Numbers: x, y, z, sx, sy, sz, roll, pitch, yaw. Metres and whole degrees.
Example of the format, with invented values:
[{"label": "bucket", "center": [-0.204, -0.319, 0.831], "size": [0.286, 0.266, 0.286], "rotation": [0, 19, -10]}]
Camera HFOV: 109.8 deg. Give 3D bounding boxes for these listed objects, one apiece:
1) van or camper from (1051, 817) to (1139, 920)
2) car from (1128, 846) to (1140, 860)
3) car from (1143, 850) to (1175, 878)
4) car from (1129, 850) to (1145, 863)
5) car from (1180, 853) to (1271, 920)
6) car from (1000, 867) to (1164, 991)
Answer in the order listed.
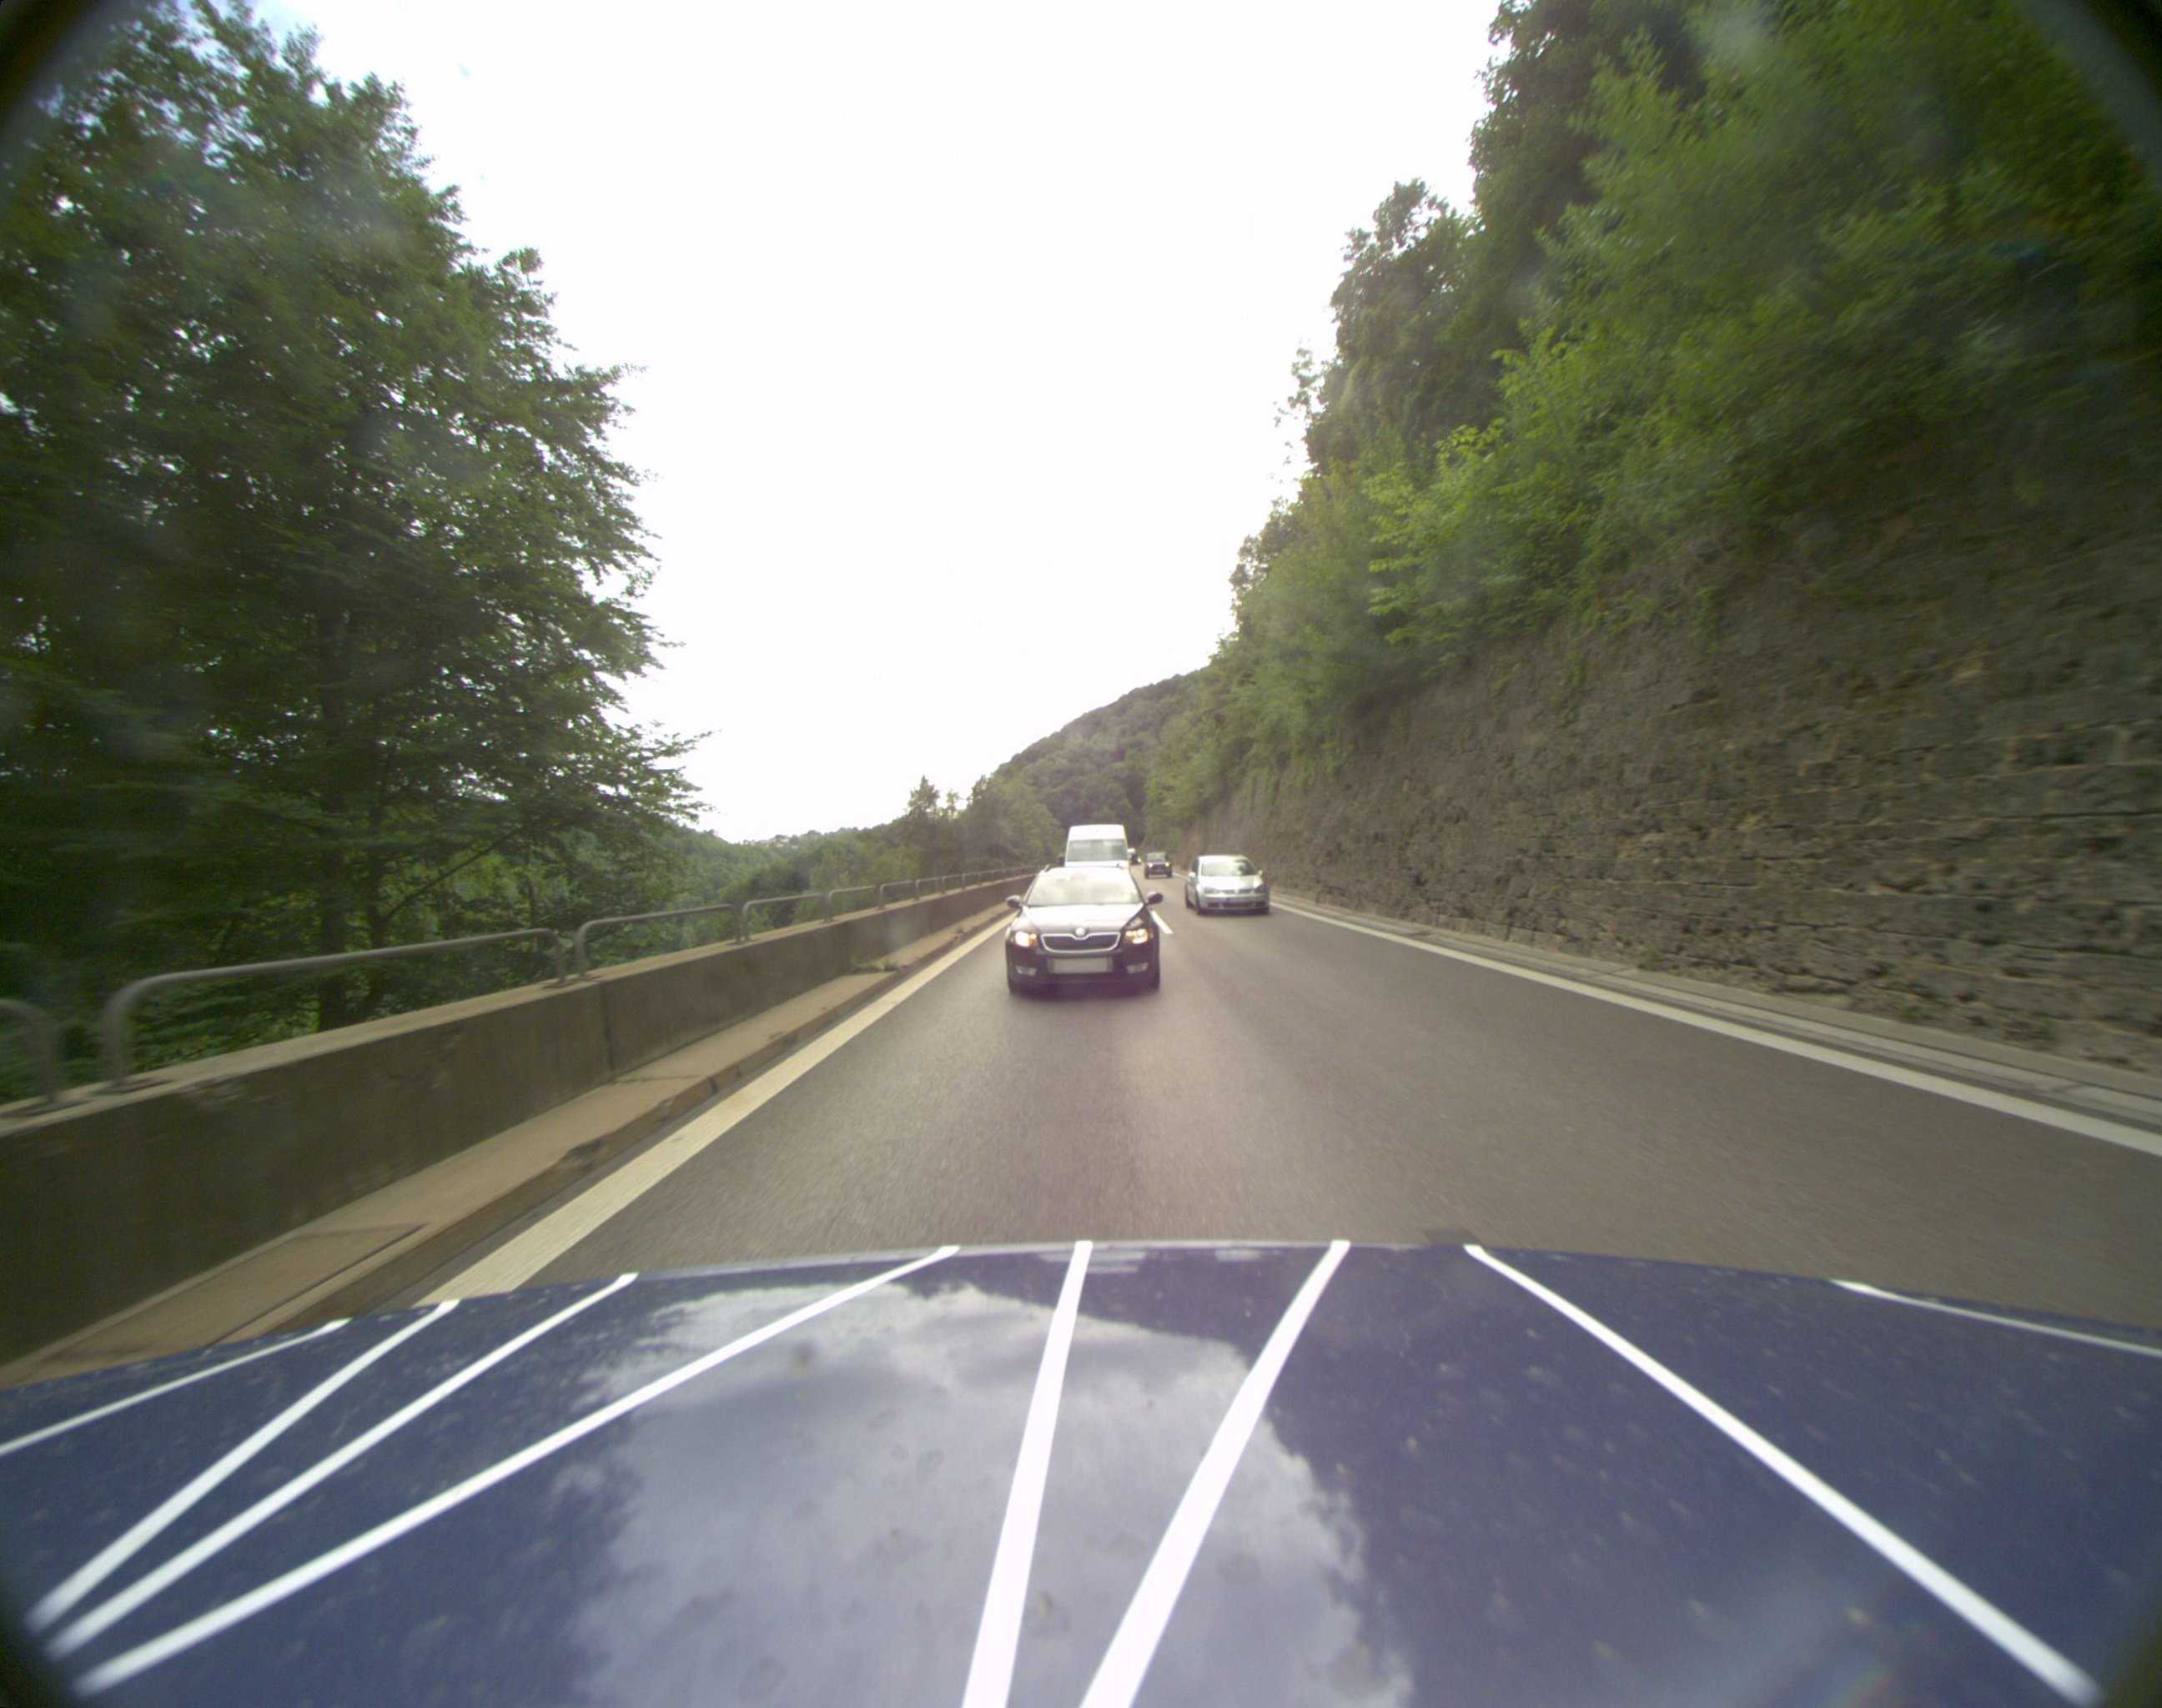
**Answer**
[{"label": "van or camper", "center": [0.590, 0.400, 22.958], "size": [2.081, 2.575, 5.914], "rotation": [-4, 0, 5]}, {"label": "car", "center": [9.719, -0.168, 140.364], "size": [1.976, 2.628, 4.584], "rotation": [-2, 0, 3]}, {"label": "car", "center": [5.084, 0.609, 49.891], "size": [1.812, 1.646, 4.584], "rotation": [-3, 0, 3]}, {"label": "car", "center": [7.907, 0.354, 107.376], "size": [1.813, 1.646, 4.582], "rotation": [-3, 0, -2]}, {"label": "car", "center": [3.710, 0.763, 20.220], "size": [1.685, 1.506, 4.584], "rotation": [-3, 0, 3]}, {"label": "car", "center": [0.135, 0.975, 11.932], "size": [1.998, 1.389, 5.009], "rotation": [-2, 0, 3]}]
